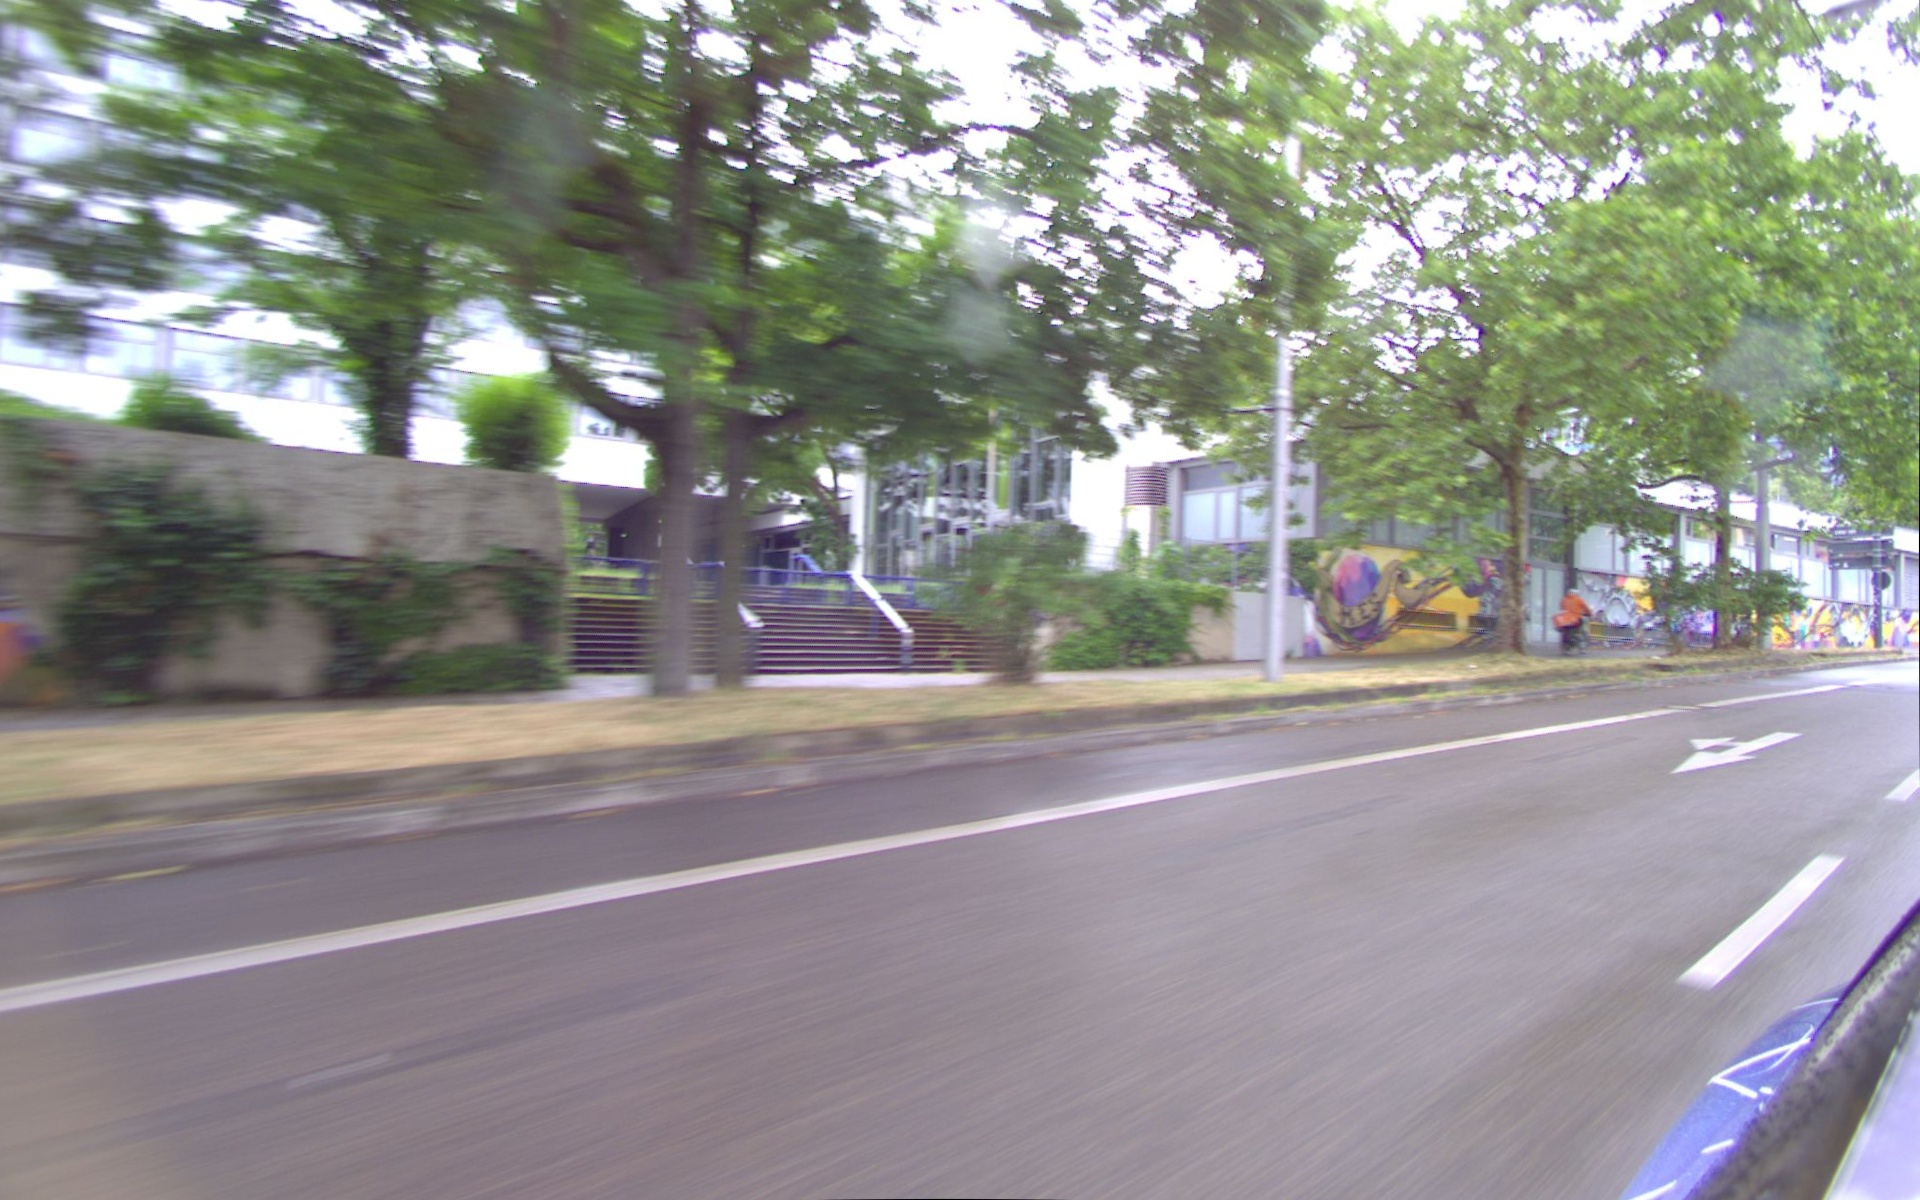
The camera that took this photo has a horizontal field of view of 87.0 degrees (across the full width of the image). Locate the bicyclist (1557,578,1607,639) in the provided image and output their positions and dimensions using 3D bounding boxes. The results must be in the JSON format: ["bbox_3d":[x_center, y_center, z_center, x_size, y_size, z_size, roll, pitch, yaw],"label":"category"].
[{"bbox_3d":[17.168,0.237,27.931,1.026,1.648,0.809,1,-1,-33],"label":"bicyclist"}]

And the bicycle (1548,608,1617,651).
[{"bbox_3d":[17.184,0.792,27.924,2.155,1.126,0.809,1,-1,-34],"label":"bicycle"}]
